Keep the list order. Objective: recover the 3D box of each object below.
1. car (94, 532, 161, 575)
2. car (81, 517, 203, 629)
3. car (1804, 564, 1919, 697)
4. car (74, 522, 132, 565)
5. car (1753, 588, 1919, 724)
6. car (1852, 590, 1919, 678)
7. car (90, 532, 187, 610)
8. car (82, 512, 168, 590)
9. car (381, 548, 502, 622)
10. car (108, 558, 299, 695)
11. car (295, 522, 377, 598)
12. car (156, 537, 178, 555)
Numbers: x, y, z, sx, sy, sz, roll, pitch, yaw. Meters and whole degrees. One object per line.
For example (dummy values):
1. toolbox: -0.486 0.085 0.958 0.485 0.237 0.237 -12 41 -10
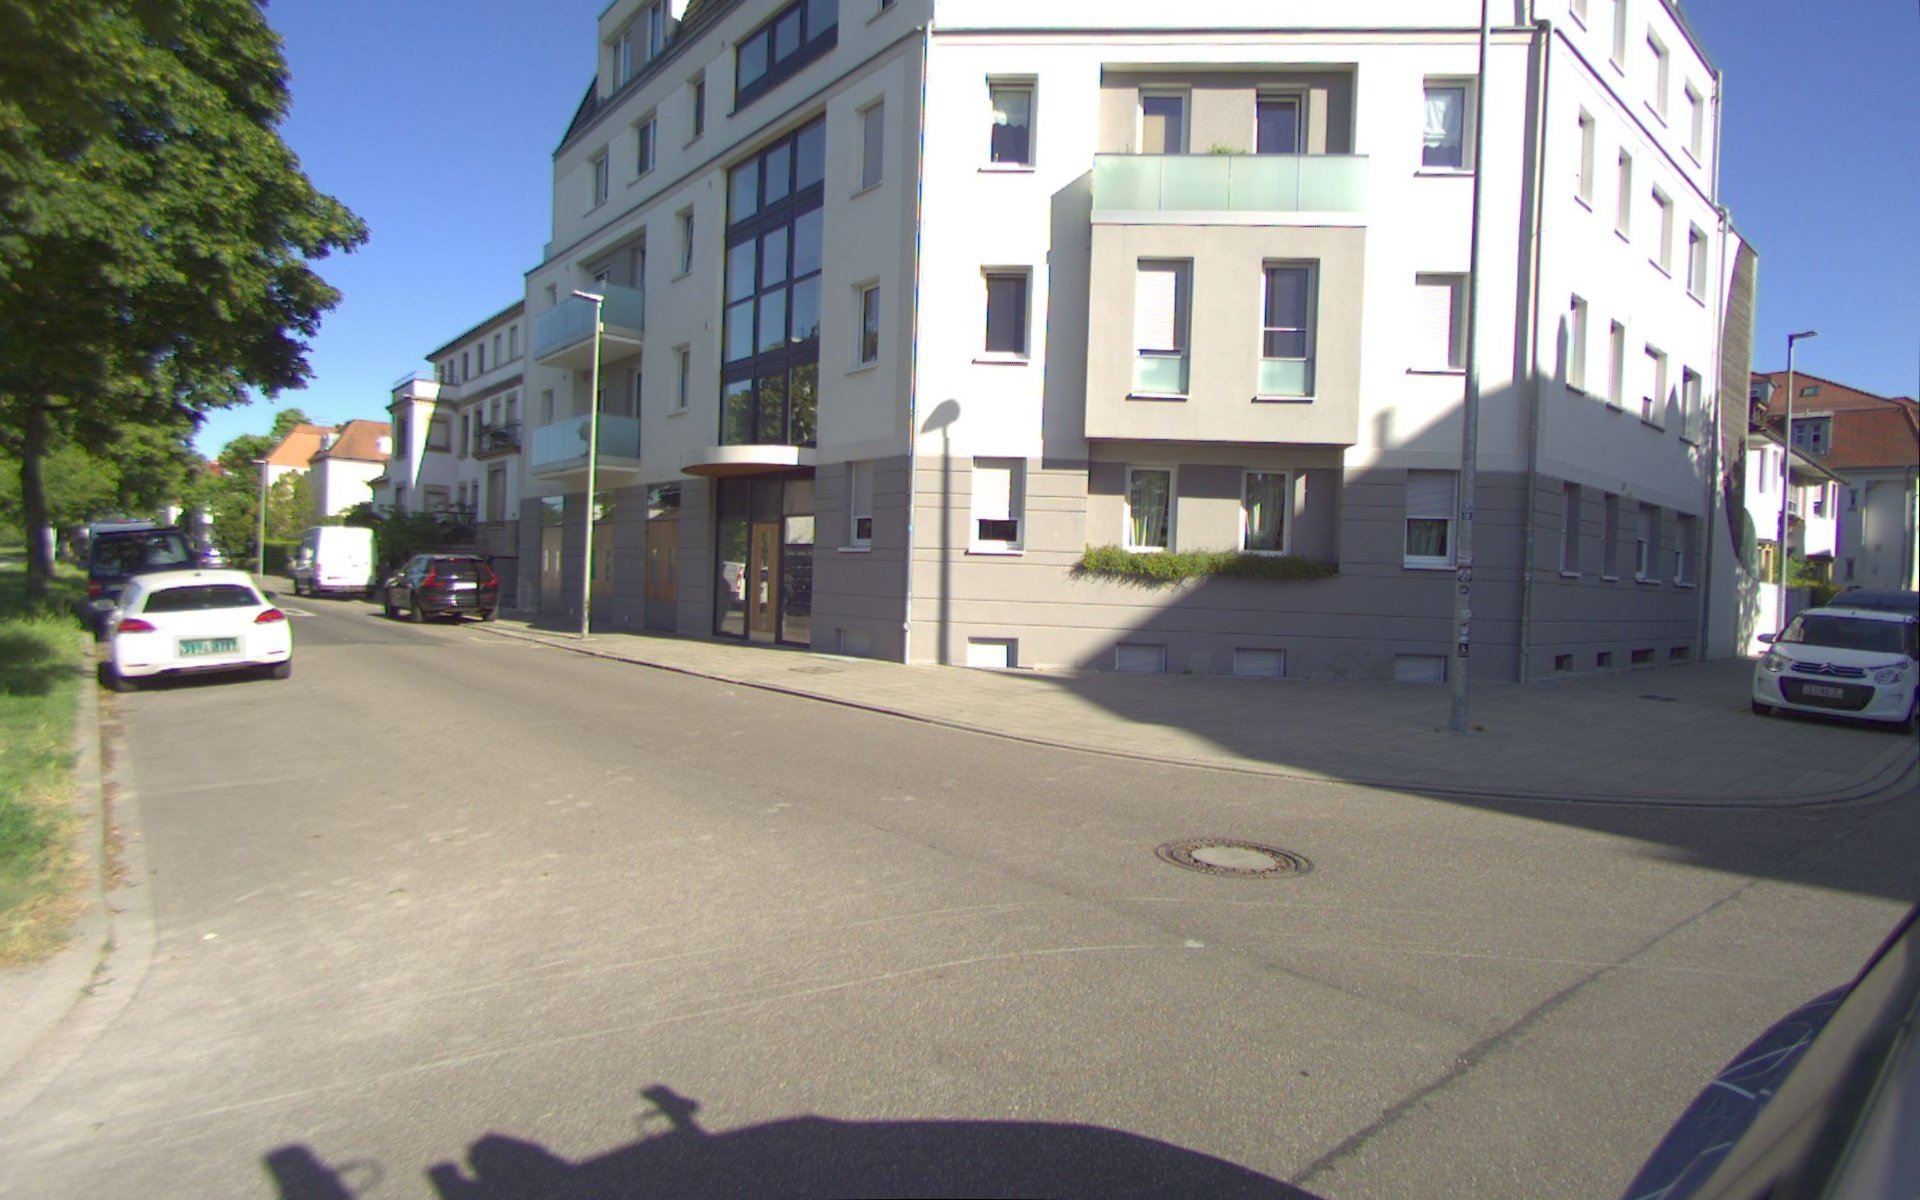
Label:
1. car: -34.413 -1.920 41.845 2.049 1.618 4.284 1 2 -40
2. car: -17.334 -0.645 21.449 1.754 2.108 3.990 -4 5 -40
3. car: 15.416 0.460 16.597 4.182 1.857 1.665 0 5 -41
4. car: -51.242 -3.377 60.570 2.506 2.363 5.914 1 2 -40
5. car: 12.188 0.669 13.618 3.624 1.465 1.665 0 5 -42
6. car: 19.316 0.666 20.201 3.995 1.560 1.665 0 5 -41
7. car: -22.435 -0.873 27.726 1.843 1.906 4.421 -4 5 -38
8. car: -30.126 -1.820 36.562 2.155 2.615 4.284 -4 5 -40
9. car: -13.250 -0.439 25.736 1.863 1.703 4.285 -1 3 -40
10. car: -10.216 0.214 13.551 1.710 1.450 3.989 -5 5 -41
11. car: -22.592 -1.475 36.610 1.987 2.580 3.990 -1 3 -40
12. car: -92.675 -6.324 118.247 1.832 1.868 3.991 3 1 -40
